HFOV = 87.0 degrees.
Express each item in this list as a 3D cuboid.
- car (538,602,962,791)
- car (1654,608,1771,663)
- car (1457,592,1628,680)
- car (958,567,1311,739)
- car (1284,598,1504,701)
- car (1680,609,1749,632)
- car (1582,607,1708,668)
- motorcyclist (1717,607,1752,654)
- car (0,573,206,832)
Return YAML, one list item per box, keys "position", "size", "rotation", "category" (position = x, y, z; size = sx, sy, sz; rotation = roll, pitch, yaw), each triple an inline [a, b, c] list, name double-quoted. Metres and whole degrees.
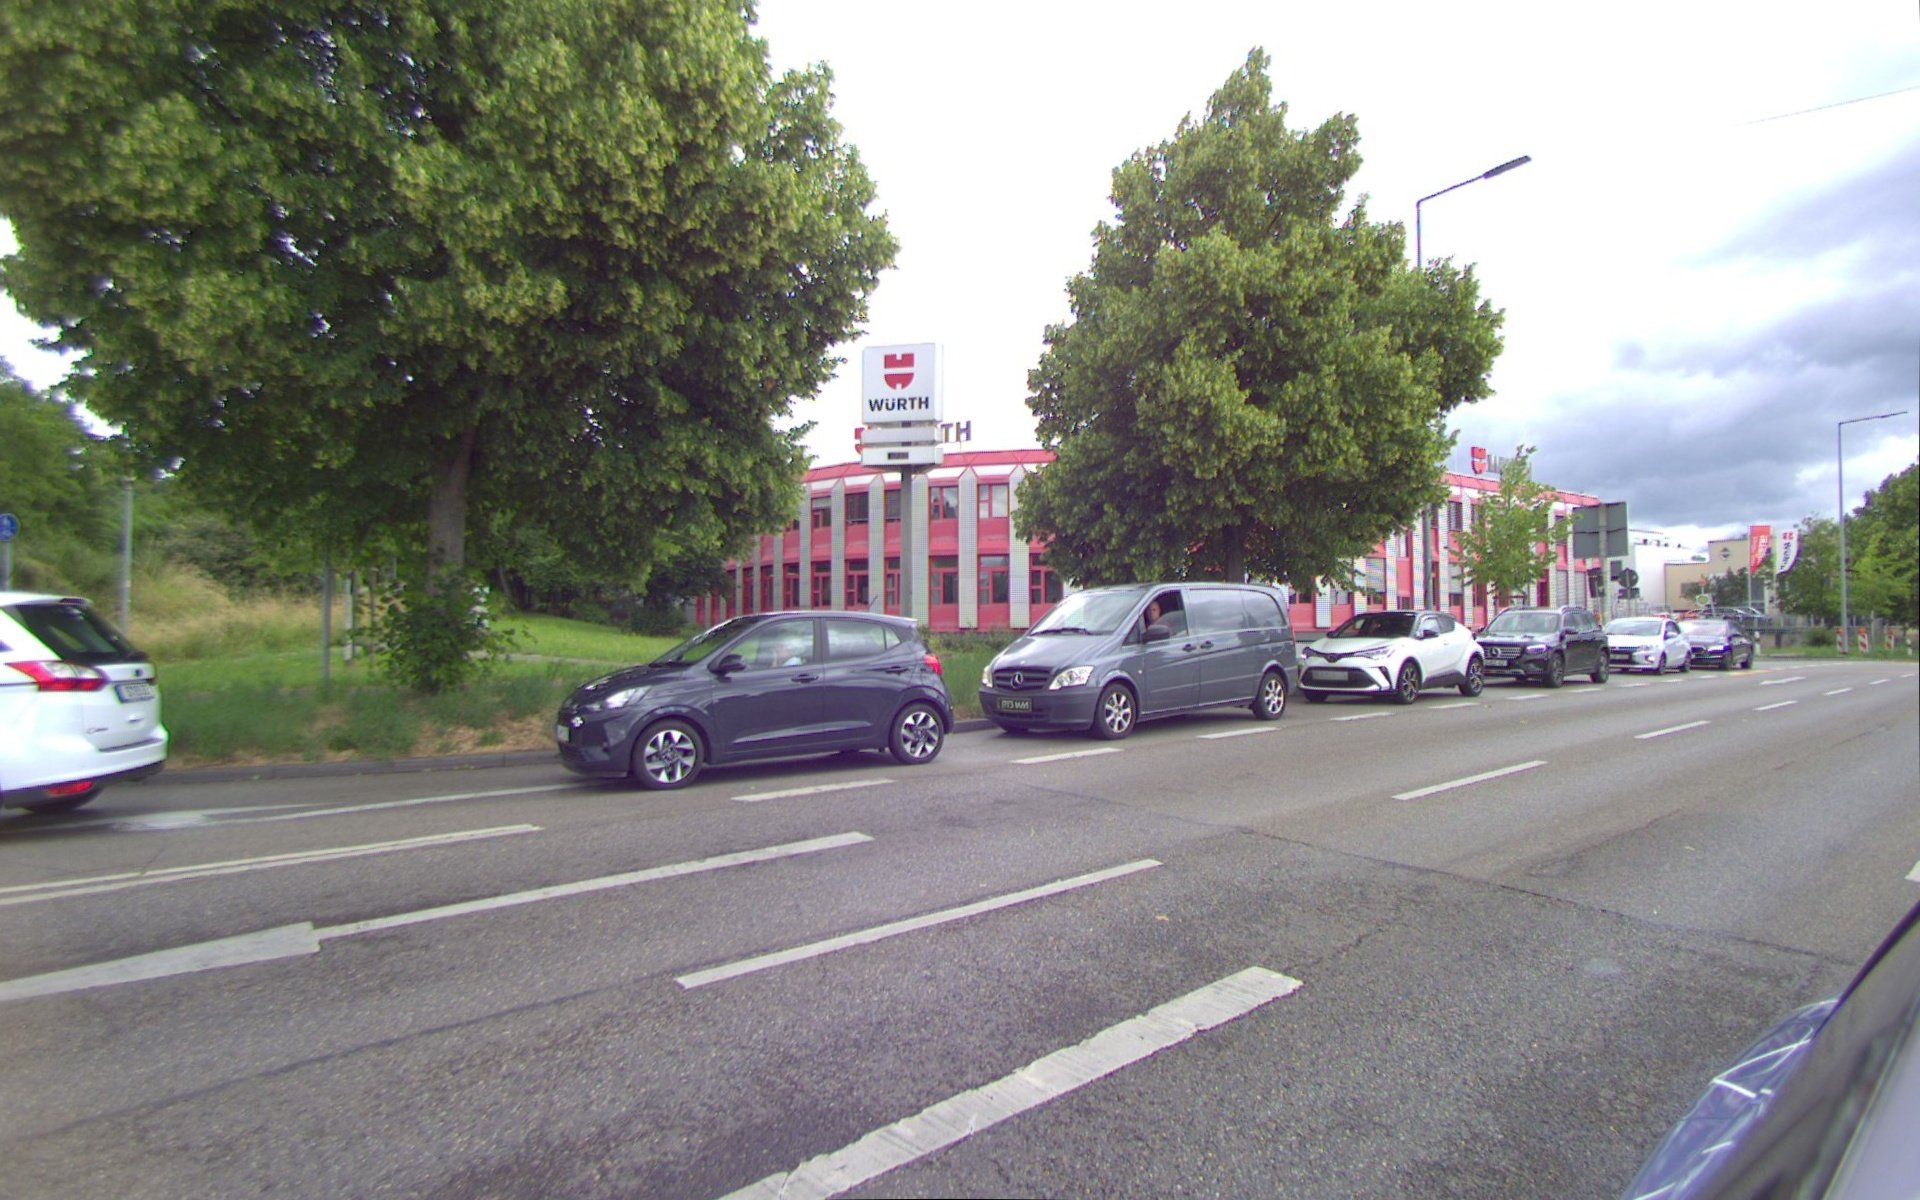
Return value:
- position: [-1.915, 0.783, 9.498]
  size: [3.545, 1.449, 1.625]
  rotation: [0, -3, -33]
  category: "car"
- position: [22.214, 1.058, 29.822]
  size: [4.446, 1.464, 1.784]
  rotation: [3, -1, -40]
  category: "car"
- position: [12.478, 0.757, 21.574]
  size: [4.346, 1.671, 1.784]
  rotation: [3, -1, -40]
  category: "car"
- position: [2.384, 0.619, 13.155]
  size: [4.636, 1.858, 1.919]
  rotation: [0, -3, -39]
  category: "car"
- position: [7.552, 0.796, 17.420]
  size: [4.230, 1.555, 1.783]
  rotation: [0, -3, -41]
  category: "car"
- position: [61.806, 1.689, 82.967]
  size: [1.752, 1.776, 4.247]
  rotation: [0, 0, -39]
  category: "car"
- position: [18.186, 0.995, 26.823]
  size: [3.766, 1.461, 1.784]
  rotation: [3, -1, -40]
  category: "car"
- position: [25.202, 0.999, 32.933]
  size: [0.918, 1.510, 0.748]
  rotation: [2, -3, -45]
  category: "motorcyclist"
- position: [-7.873, 0.702, 6.626]
  size: [4.365, 1.616, 1.786]
  rotation: [-1, -3, -20]
  category: "car"
